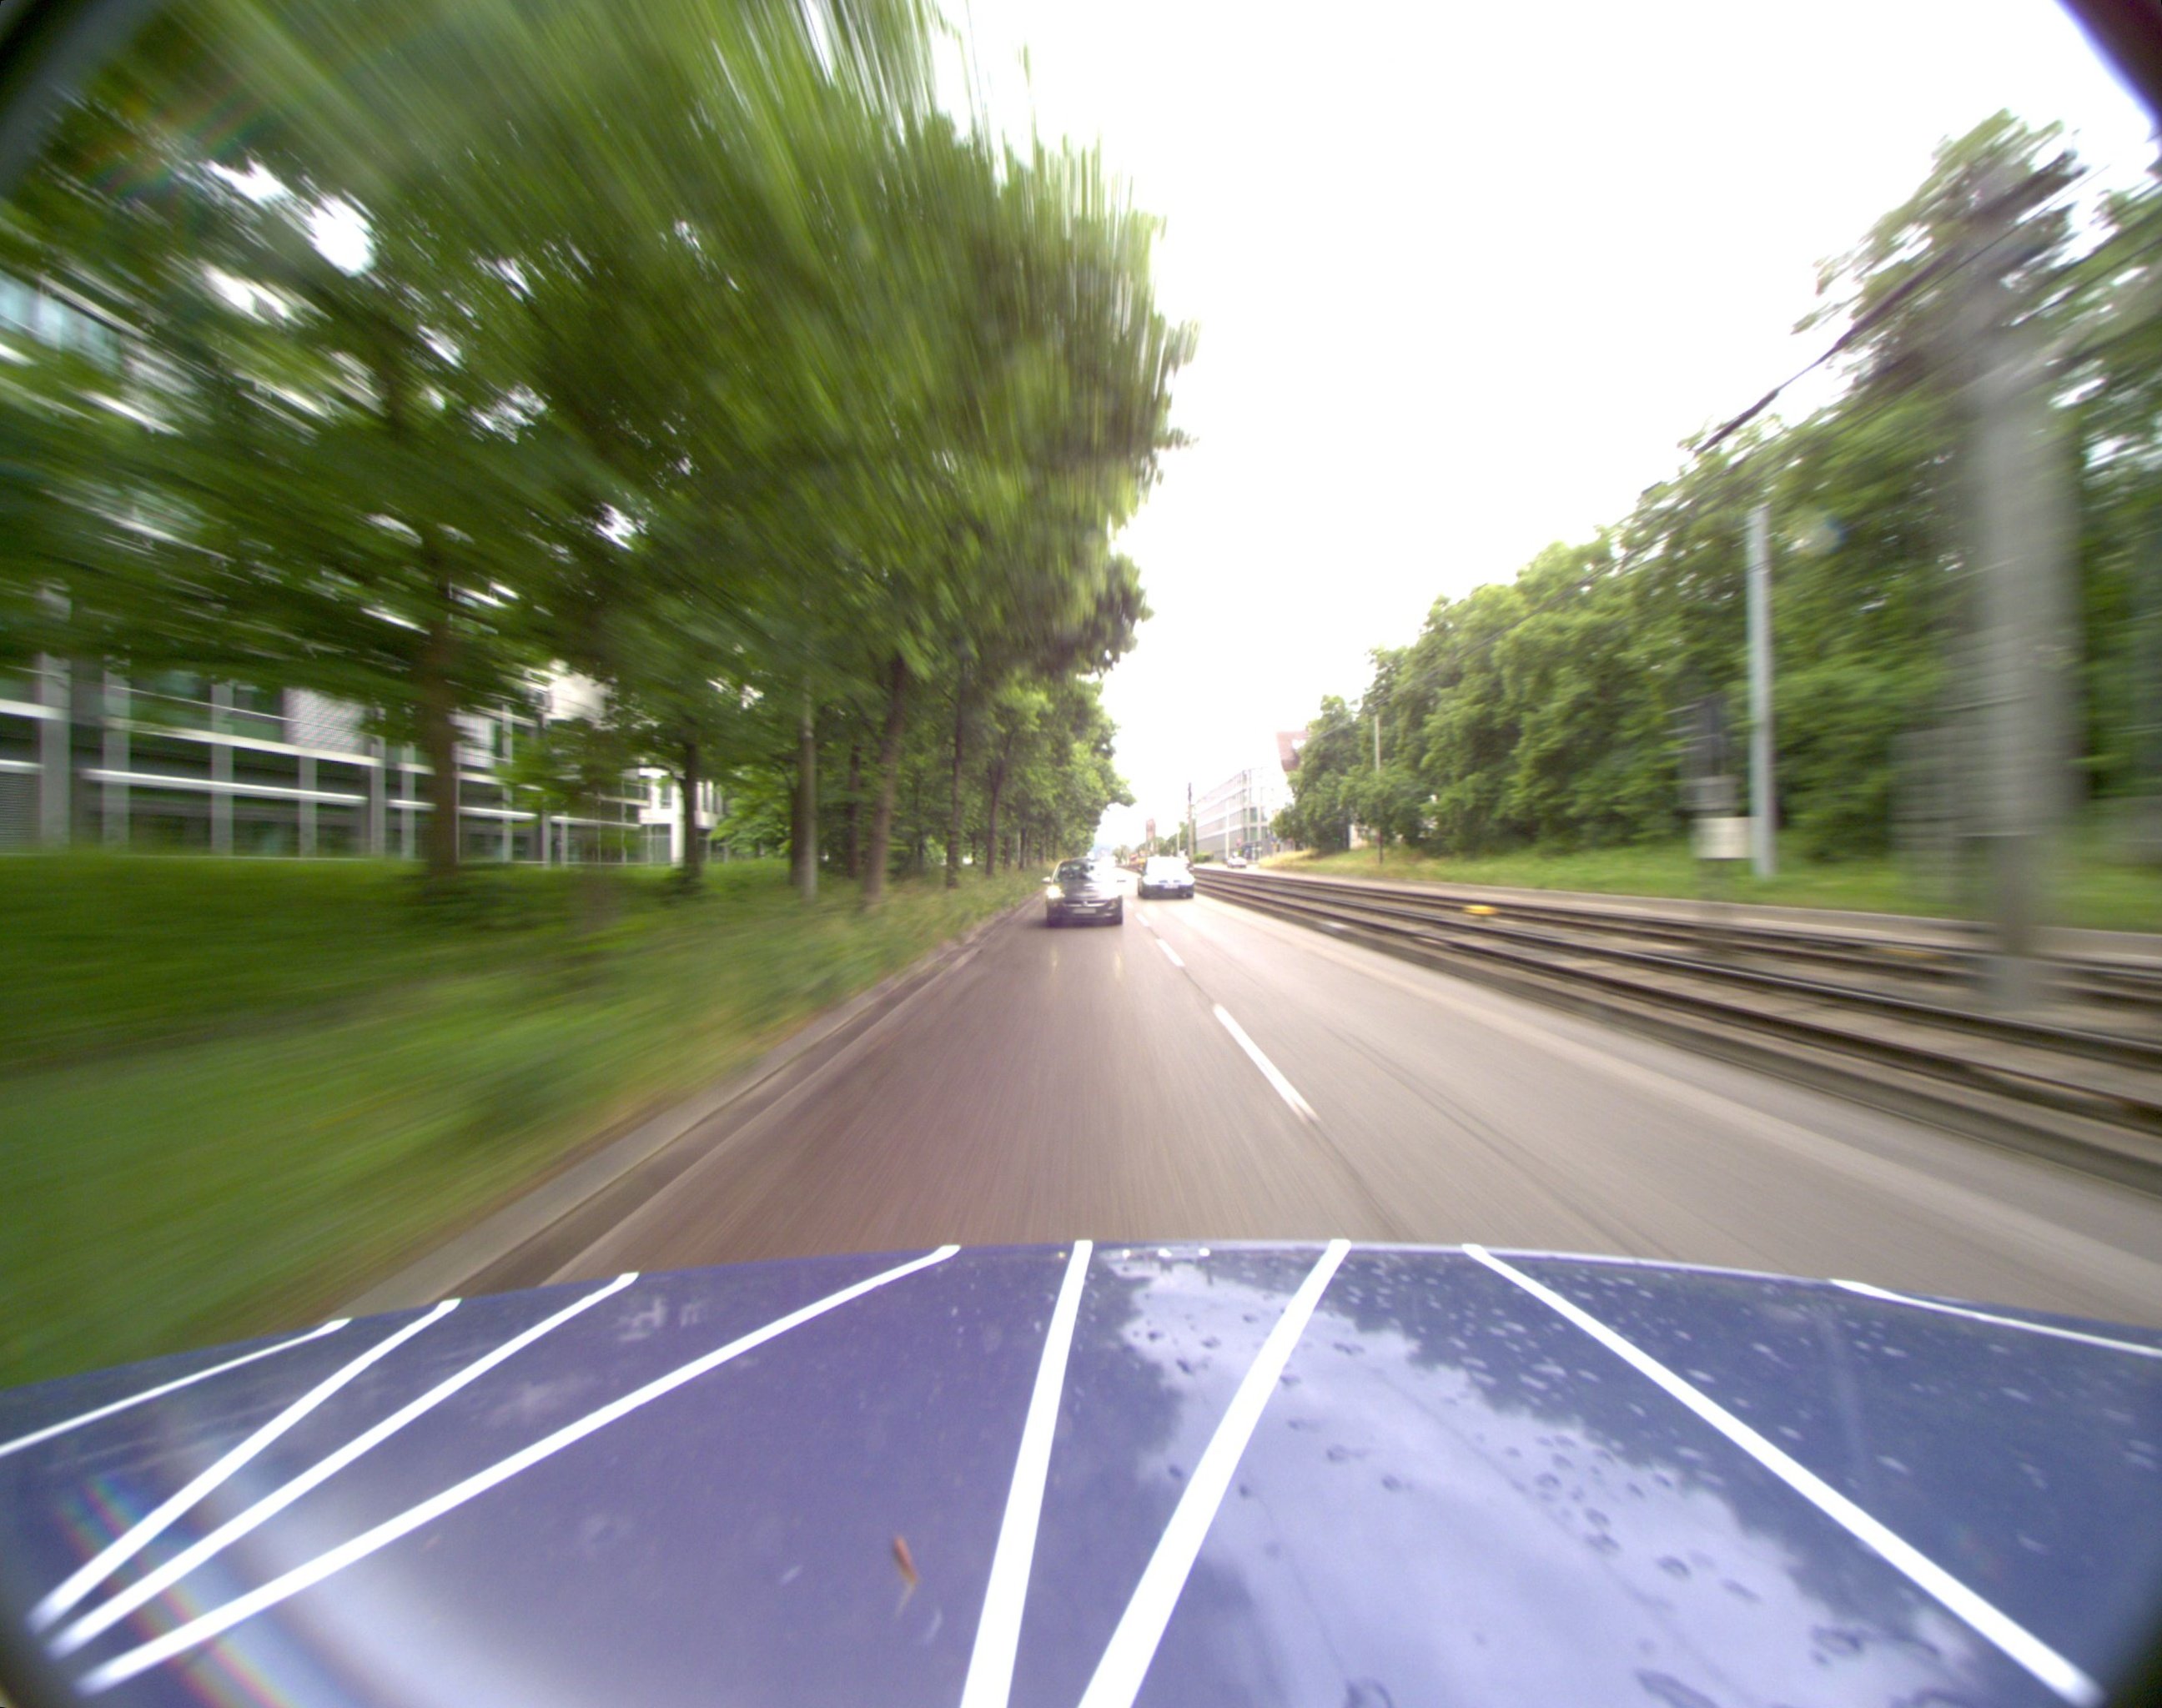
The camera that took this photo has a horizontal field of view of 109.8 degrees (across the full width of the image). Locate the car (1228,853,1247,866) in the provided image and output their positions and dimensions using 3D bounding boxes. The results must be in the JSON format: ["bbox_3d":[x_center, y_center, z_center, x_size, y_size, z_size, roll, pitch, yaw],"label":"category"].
[{"bbox_3d":[17.988,0.651,87.425,1.480,1.427,3.909,1,0,1],"label":"car"}]

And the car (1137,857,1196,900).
[{"bbox_3d":[3.061,0.841,27.808,1.770,1.439,3.833,-1,0,1],"label":"car"}]

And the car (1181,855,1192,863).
[{"bbox_3d":[21.239,1.064,152.598,1.657,1.520,4.381,-1,0,1],"label":"car"}]

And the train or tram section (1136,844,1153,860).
[{"bbox_3d":[15.871,-0.469,190.153,2.975,3.788,19.523,-1,-1,1],"label":"train or tram section"}]

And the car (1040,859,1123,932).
[{"bbox_3d":[0.085,0.889,18.318,1.698,1.439,4.421,-3,0,2],"label":"car"}]
